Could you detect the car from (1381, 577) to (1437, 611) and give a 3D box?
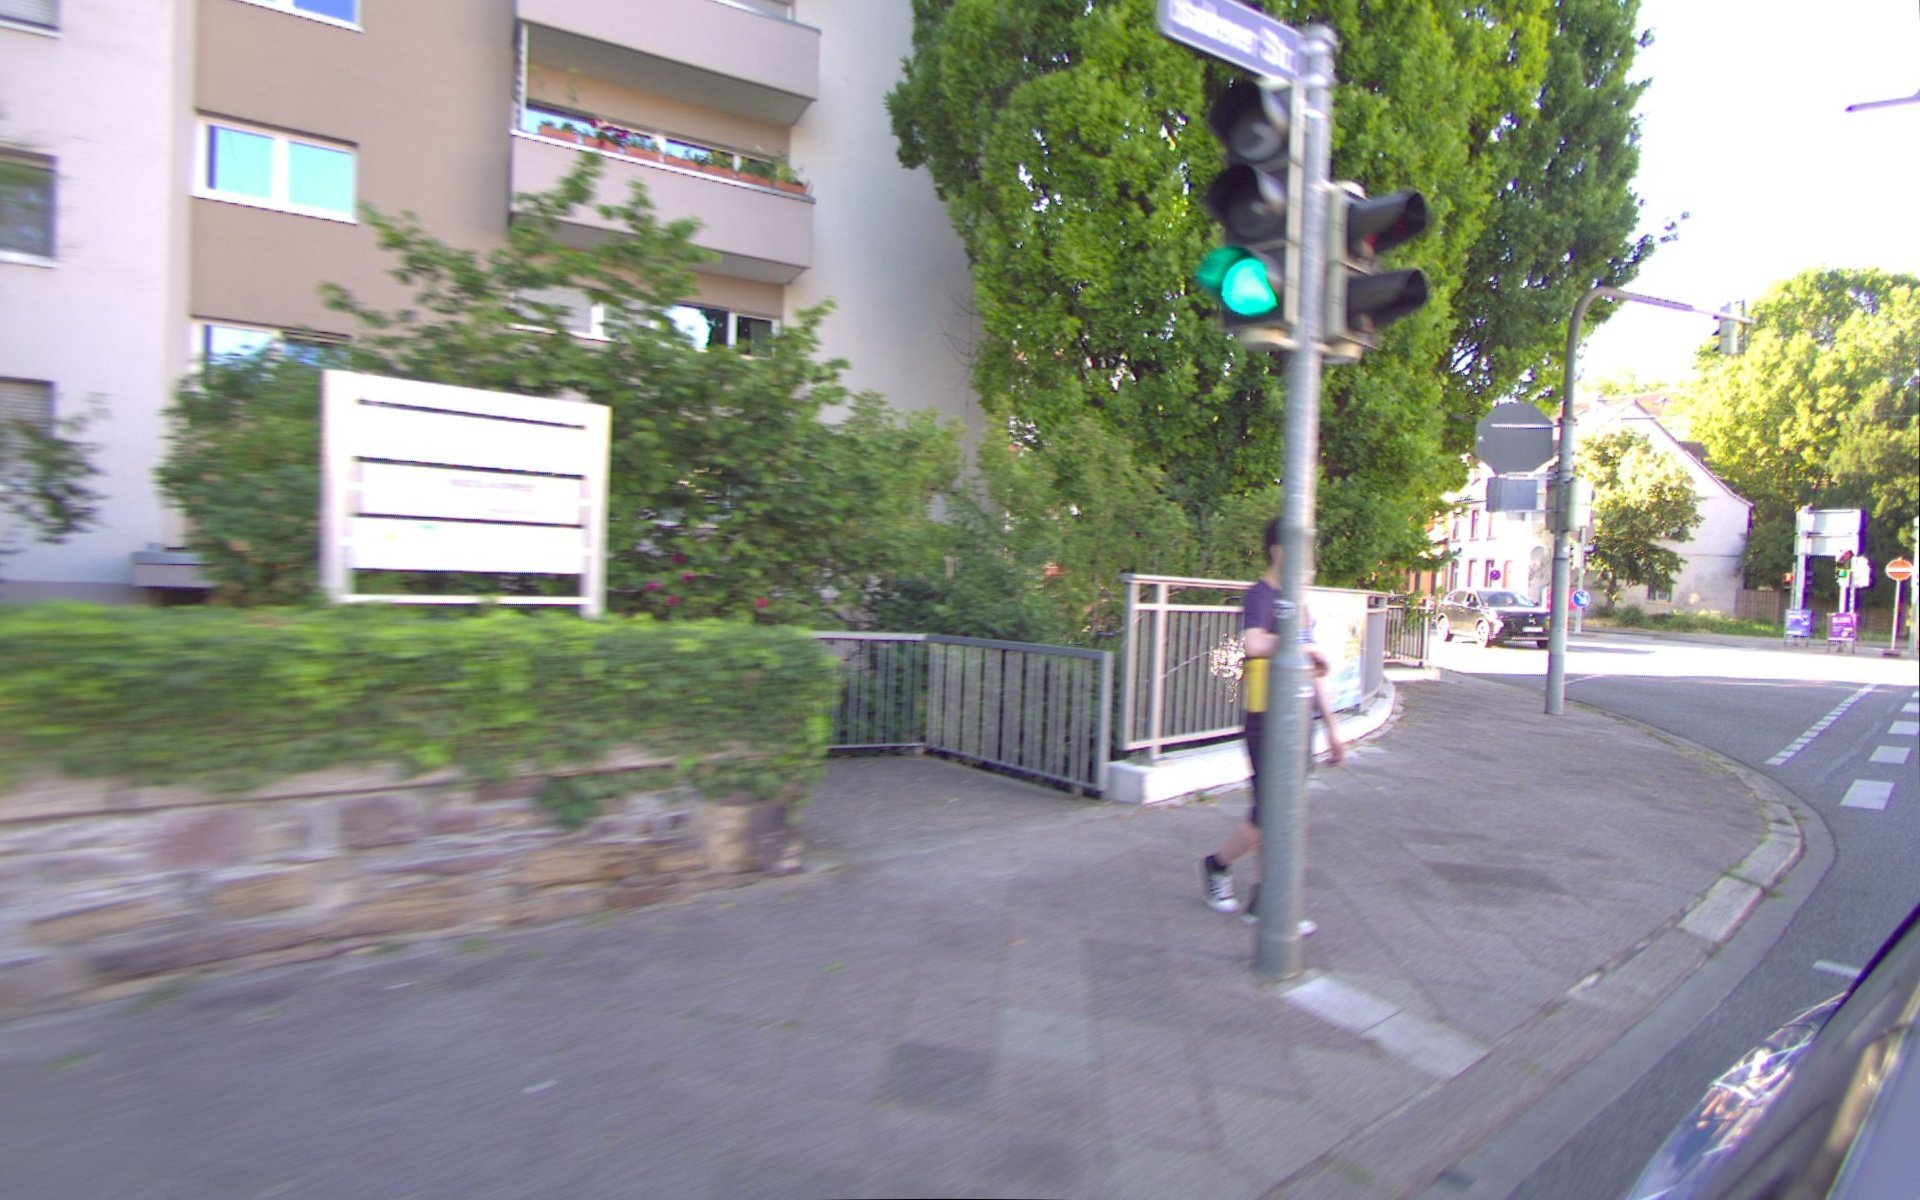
[{"bbox_3d":[27.769,-0.372,62.740,1.967,1.838,4.242,5,1,8],"label":"car"}]

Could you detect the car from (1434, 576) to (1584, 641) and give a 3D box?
[{"bbox_3d":[15.525,0.173,28.931,1.964,1.691,4.660,-1,1,4],"label":"car"}]

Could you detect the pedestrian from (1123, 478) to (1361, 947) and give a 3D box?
[{"bbox_3d":[1.137,0.401,4.109,0.601,1.714,0.604,2,2,-39],"label":"pedestrian"}]

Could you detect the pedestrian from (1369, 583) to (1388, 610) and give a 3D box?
[{"bbox_3d":[29.541,-0.261,71.452,0.943,1.861,1.285,2,0,12],"label":"pedestrian"}]
